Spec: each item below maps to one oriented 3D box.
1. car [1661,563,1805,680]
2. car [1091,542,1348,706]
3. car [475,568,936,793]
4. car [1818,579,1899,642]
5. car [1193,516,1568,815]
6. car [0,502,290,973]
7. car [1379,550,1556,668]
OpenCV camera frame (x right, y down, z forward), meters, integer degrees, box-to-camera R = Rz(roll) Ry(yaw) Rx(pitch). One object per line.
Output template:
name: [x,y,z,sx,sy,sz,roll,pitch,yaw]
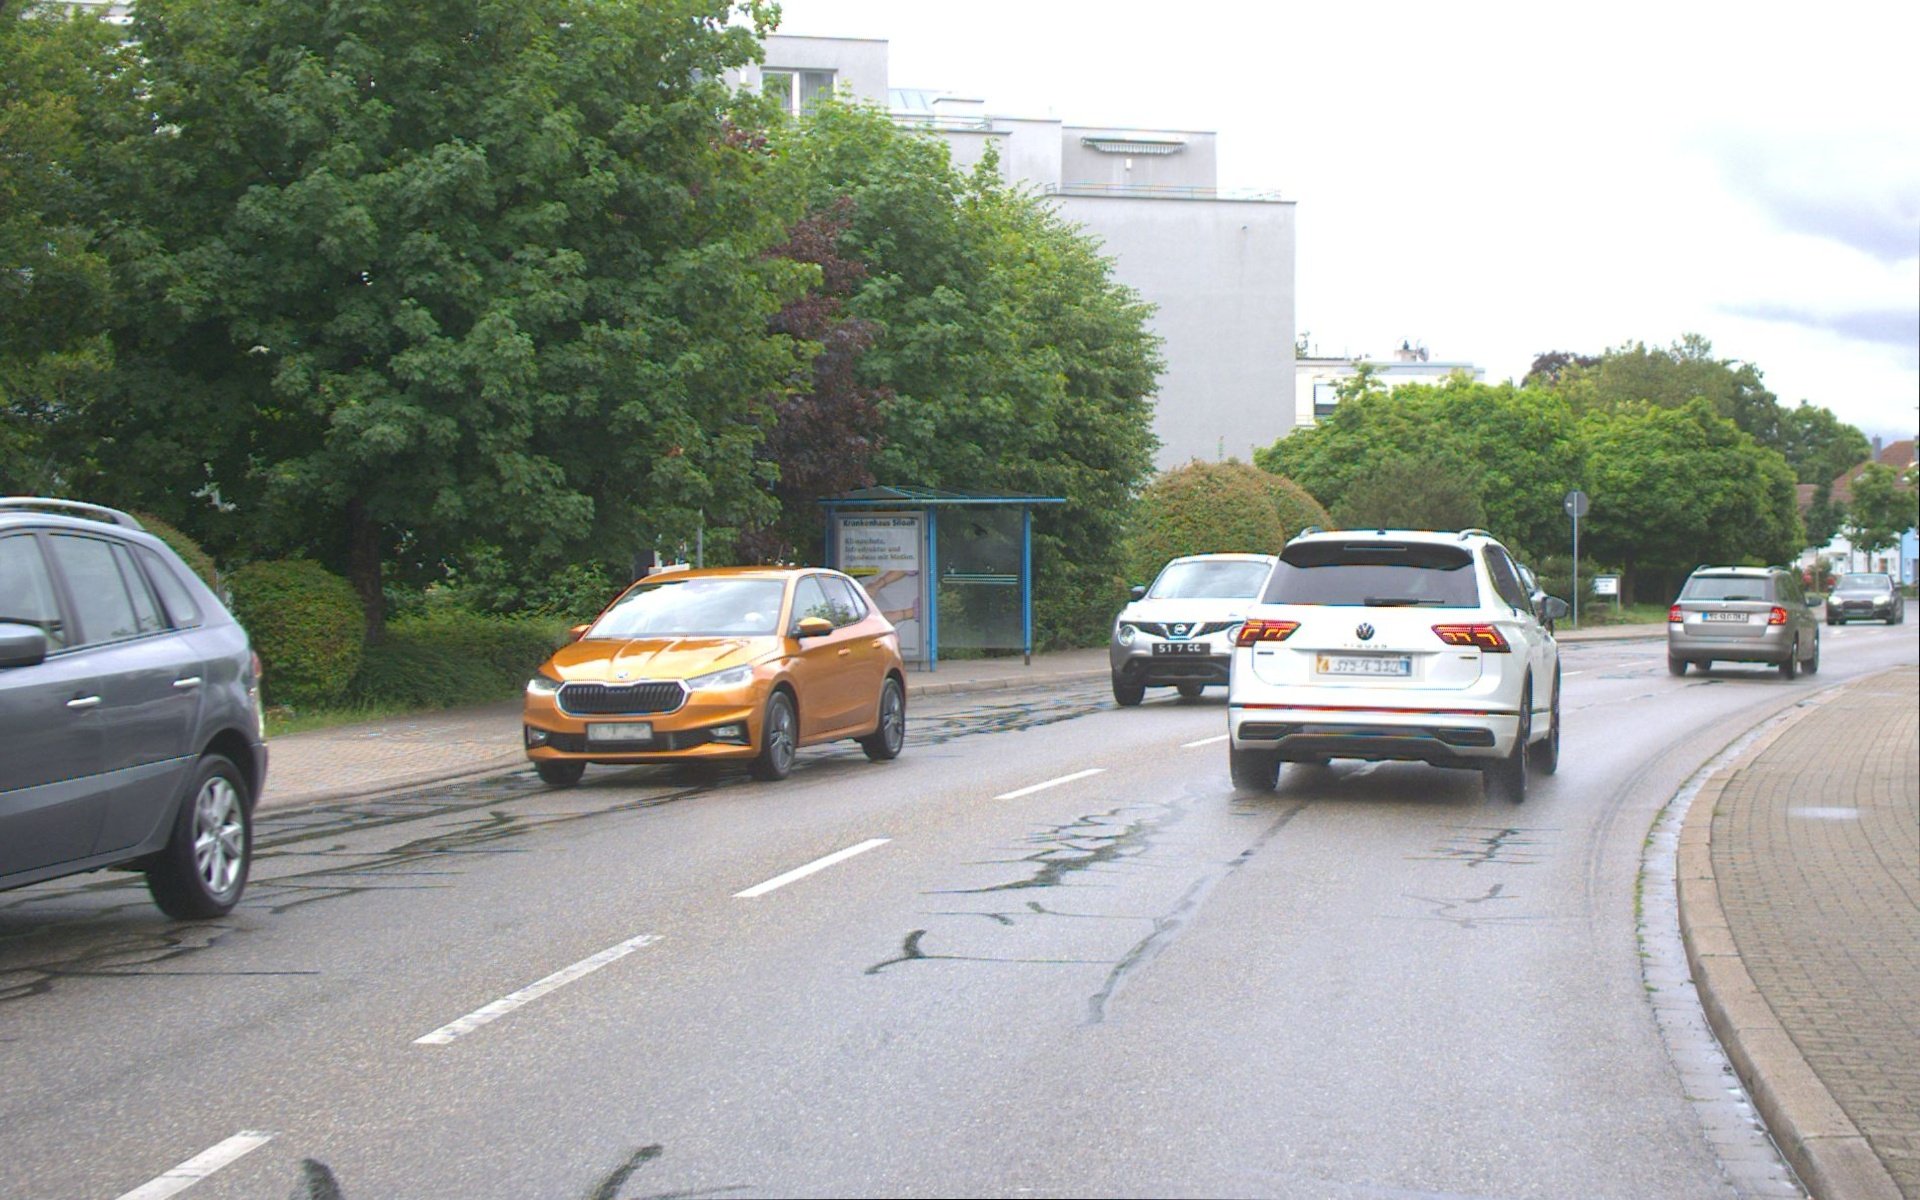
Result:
car: [10.455,0.317,46.346,1.766,1.505,3.997,0,-1,14]
car: [2.838,0.221,36.799,1.903,1.651,4.112,0,1,17]
car: [-1.687,0.501,24.295,1.903,1.434,4.112,0,1,17]
car: [24.280,0.262,92.824,1.903,1.651,4.112,0,1,17]
car: [2.840,0.332,22.386,1.922,1.716,4.262,1,2,13]
car: [-4.210,0.479,12.669,1.902,1.651,4.264,0,1,12]
car: [7.189,0.093,48.403,1.903,1.584,4.112,0,1,17]
